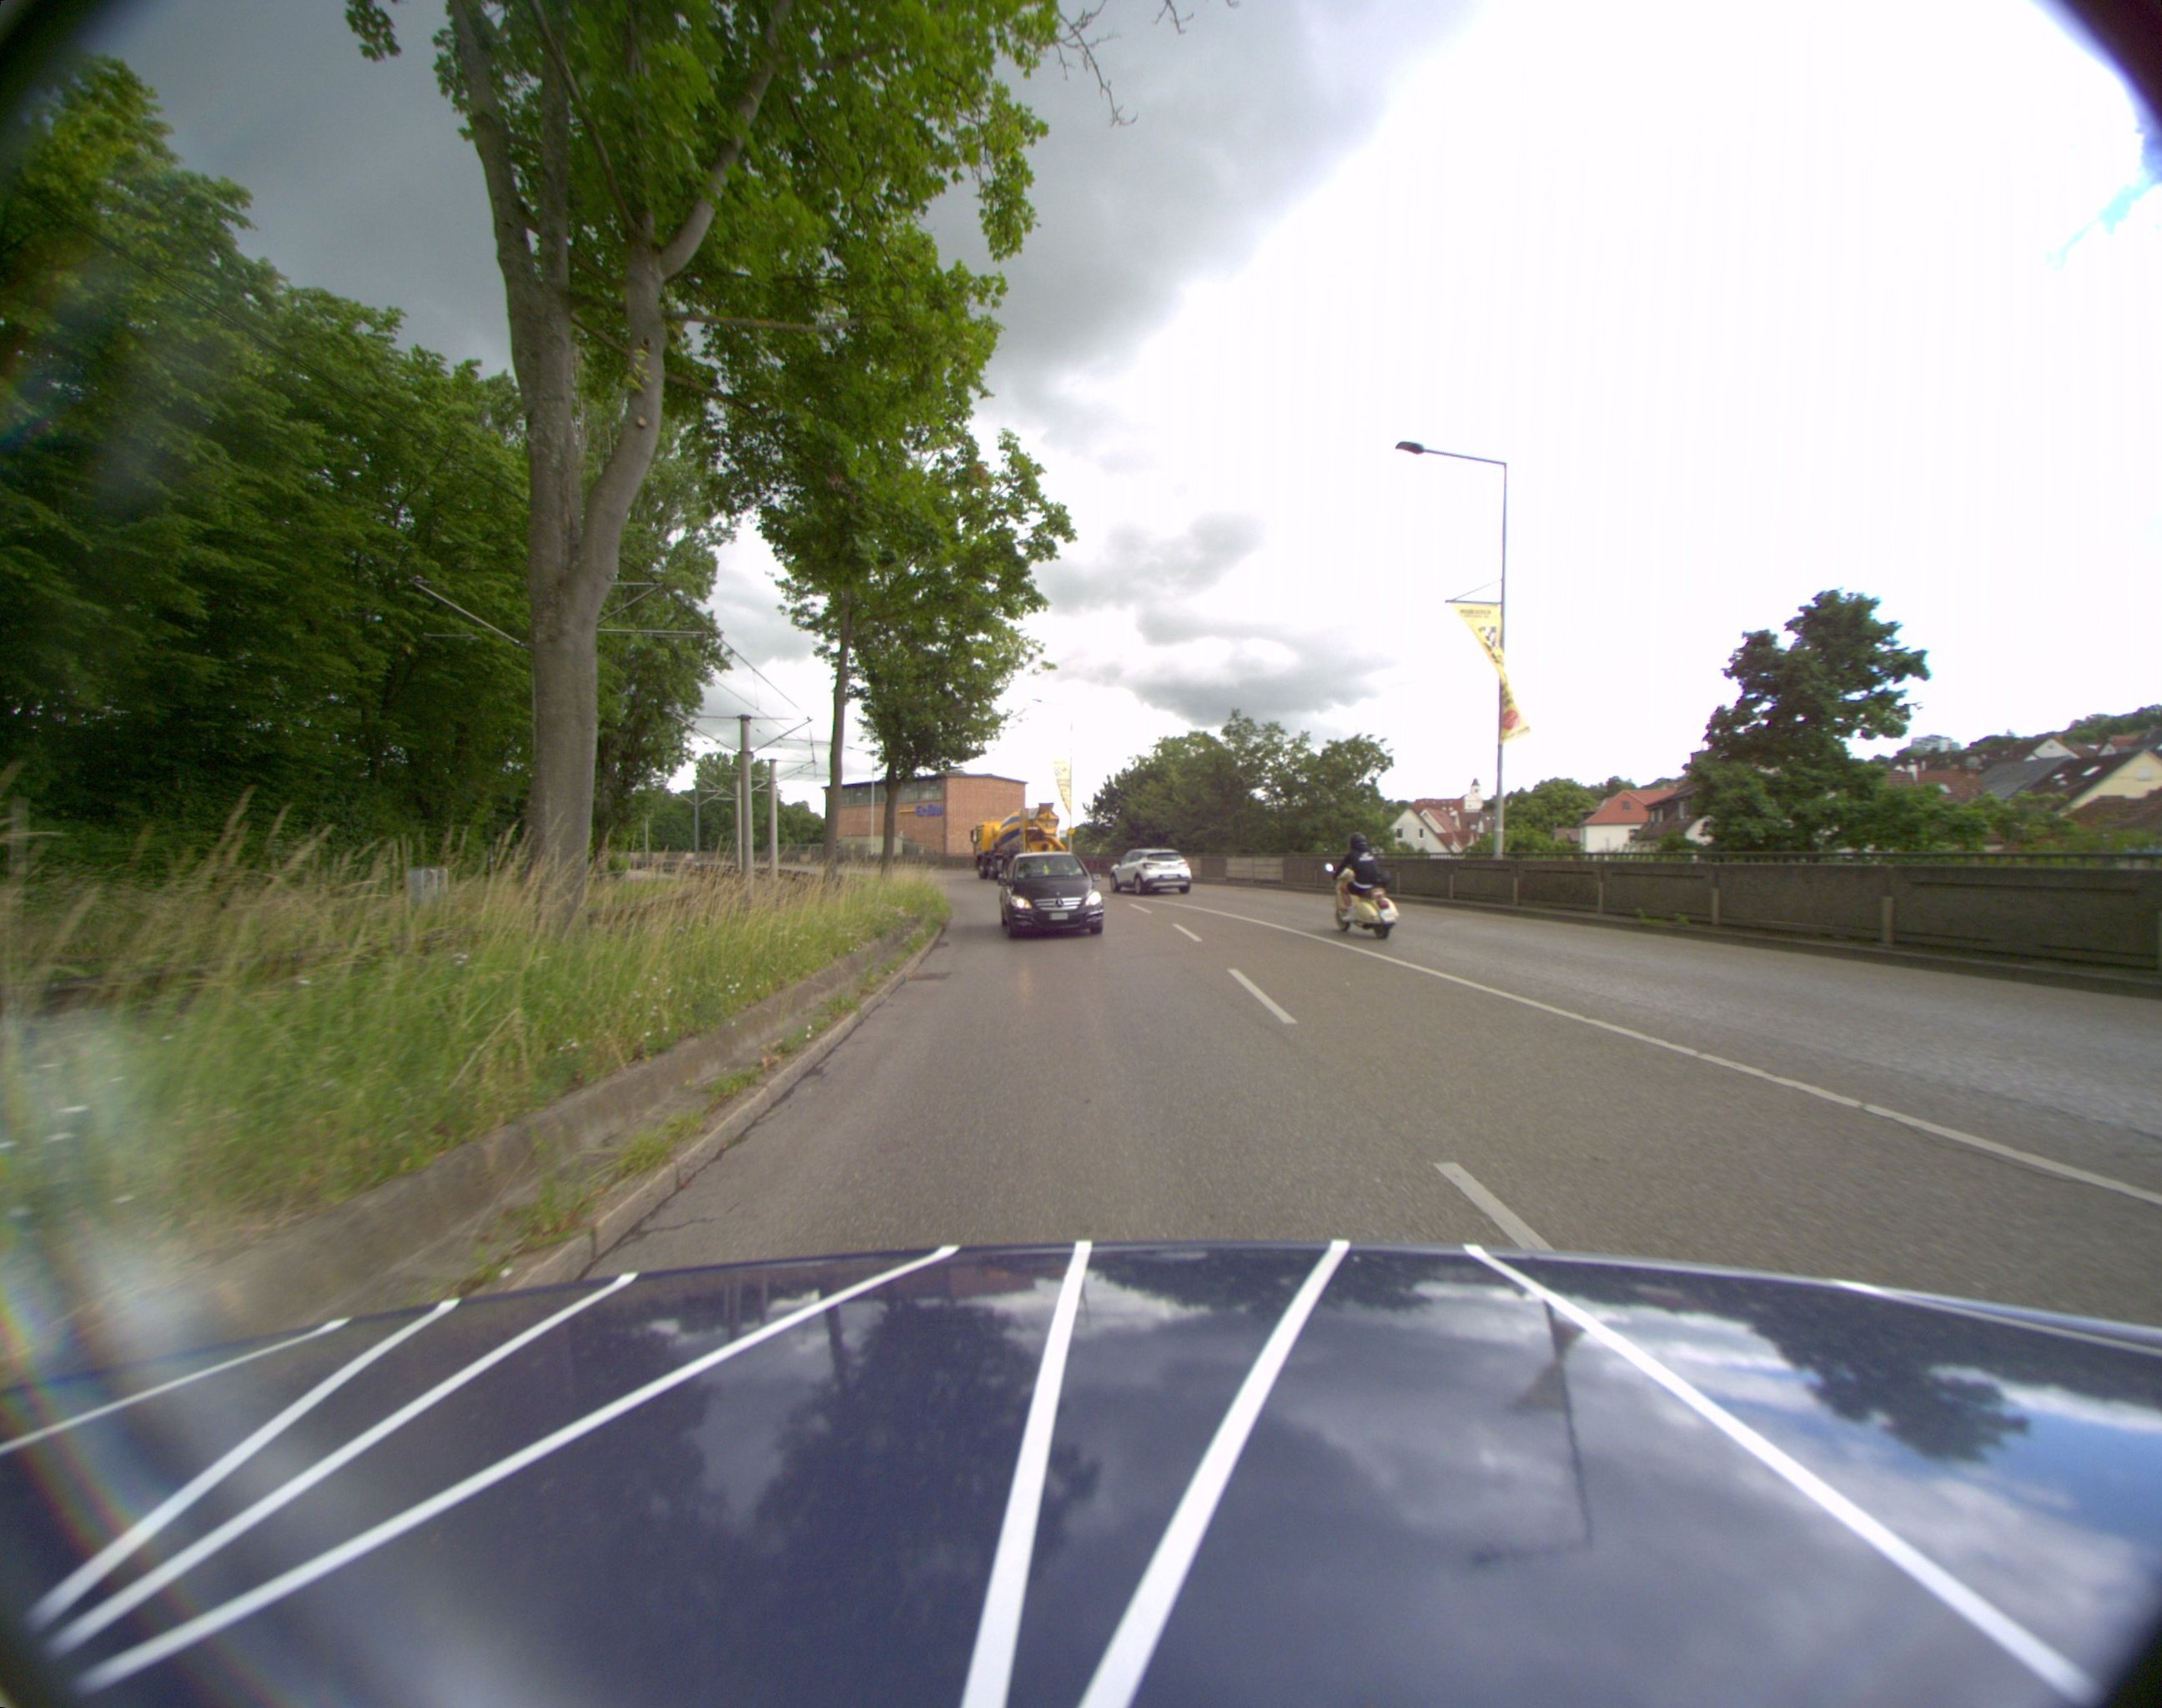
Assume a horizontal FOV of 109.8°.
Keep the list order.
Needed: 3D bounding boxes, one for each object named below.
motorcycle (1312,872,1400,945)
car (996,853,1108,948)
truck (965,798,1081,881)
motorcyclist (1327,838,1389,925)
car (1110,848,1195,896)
[{"bbox_3d":[4.475,0.858,12.475,0.684,1.055,1.718,-1,1,-6],"label":"motorcycle"},{"bbox_3d":[-0.722,0.806,15.308,1.752,1.556,4.071,-2,1,-8],"label":"car"},{"bbox_3d":[-3.457,-0.720,41.388,2.680,3.916,10.117,-4,2,-25],"label":"truck"},{"bbox_3d":[4.456,0.431,12.267,0.621,1.348,0.840,-1,1,-7],"label":"motorcyclist"},{"bbox_3d":[2.396,0.584,26.379,1.753,1.478,3.649,-2,1,-14],"label":"car"}]
